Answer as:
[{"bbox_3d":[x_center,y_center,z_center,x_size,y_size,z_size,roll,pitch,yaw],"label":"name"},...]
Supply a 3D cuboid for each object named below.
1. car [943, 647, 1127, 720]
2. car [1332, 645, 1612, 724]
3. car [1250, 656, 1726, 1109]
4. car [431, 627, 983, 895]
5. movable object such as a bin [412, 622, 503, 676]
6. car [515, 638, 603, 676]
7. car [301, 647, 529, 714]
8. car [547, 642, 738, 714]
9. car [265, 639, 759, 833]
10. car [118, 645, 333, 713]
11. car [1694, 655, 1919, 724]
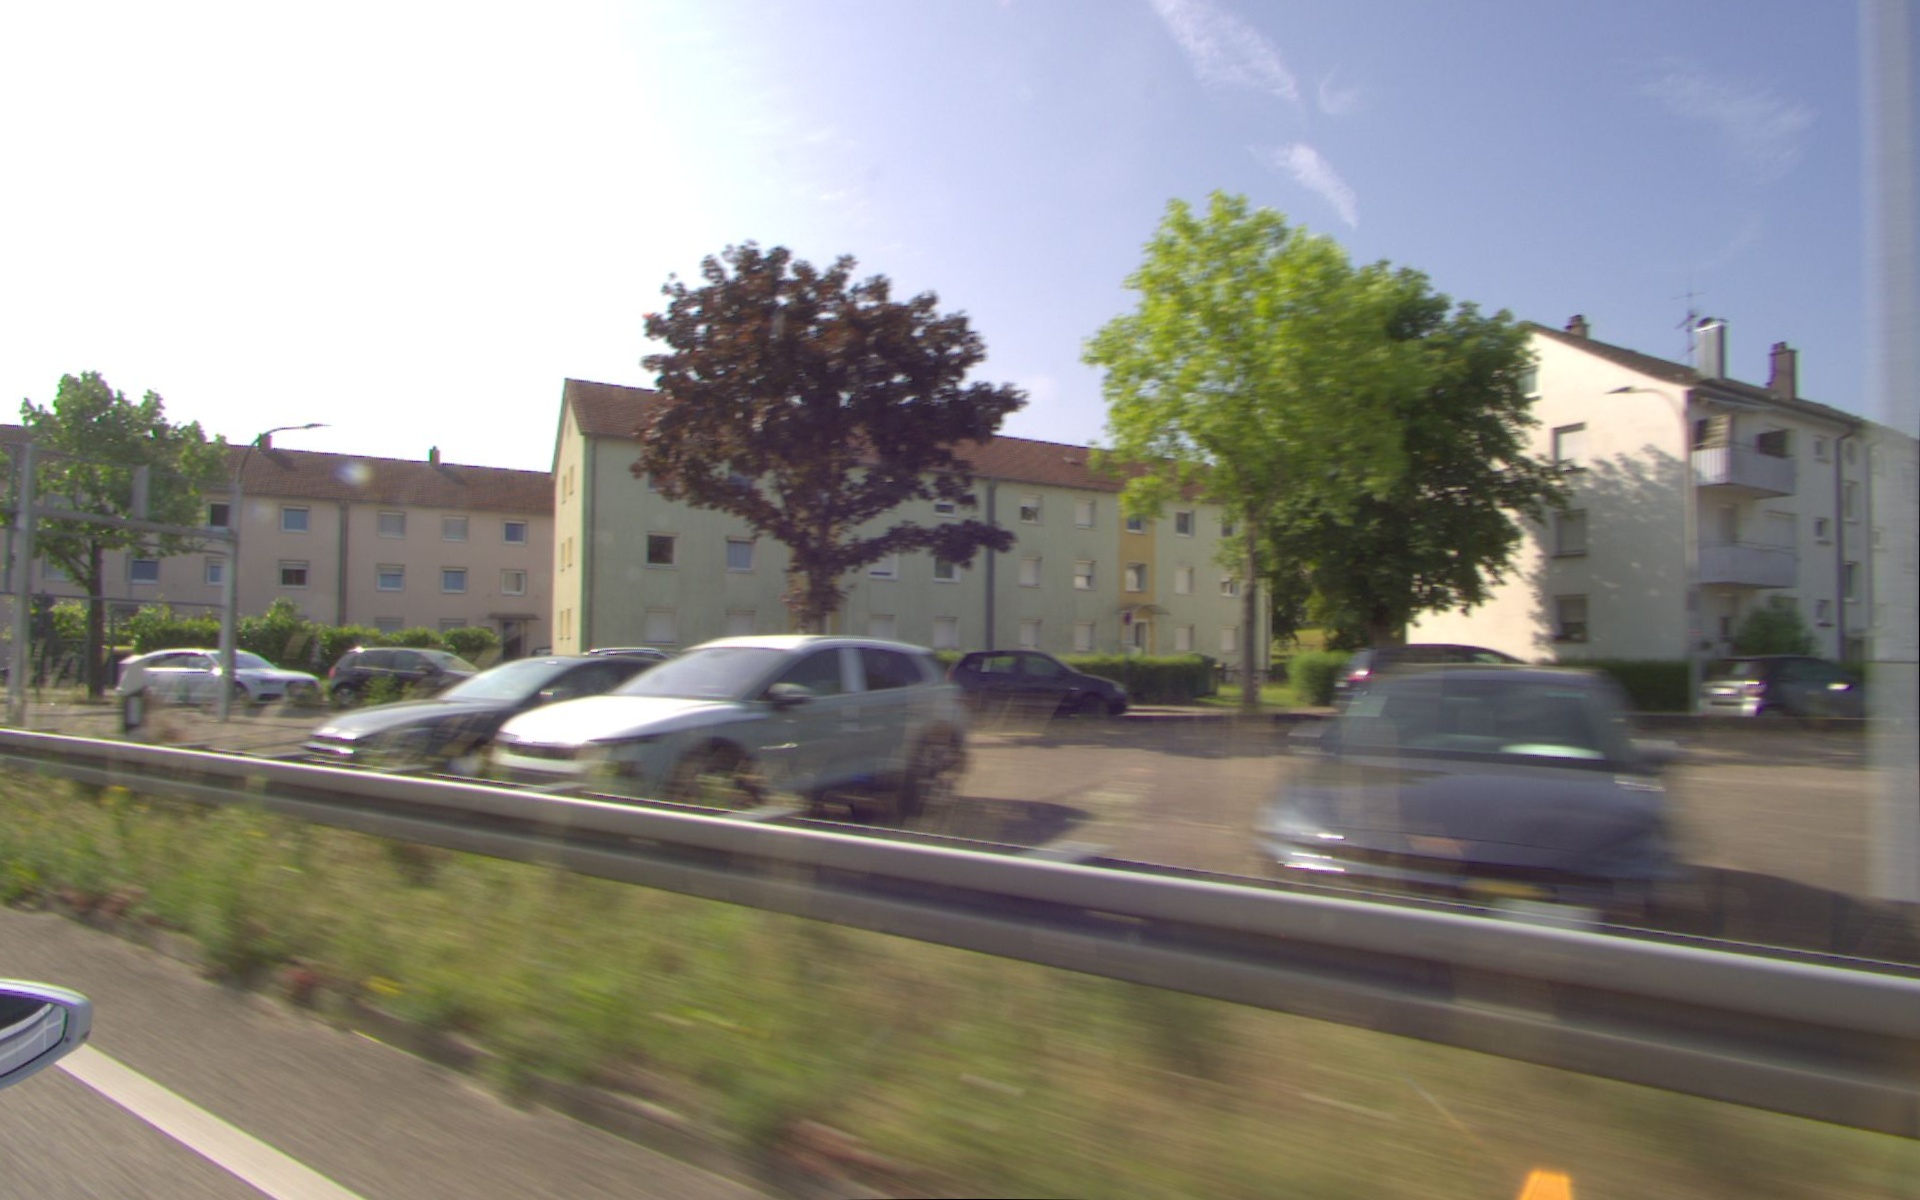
[{"bbox_3d":[1.576,1.658,20.398,3.593,1.384,1.656,-1,-2,10],"label":"car"},{"bbox_3d":[9.727,1.590,19.406,4.438,1.423,1.915,-1,-2,10],"label":"car"},{"bbox_3d":[3.049,1.087,5.685,1.605,1.462,4.314,-1,-2,32],"label":"car"},{"bbox_3d":[-1.848,1.093,8.613,2.111,1.660,4.309,-1,-3,34],"label":"car"},{"bbox_3d":[-23.120,2.274,46.178,3.472,2.385,1.584,1,-5,-18],"label":"movable object such as a bin"},{"bbox_3d":[-19.747,2.838,49.376,3.937,1.759,1.812,1,-5,-24],"label":"car"},{"bbox_3d":[-12.216,1.770,22.535,4.399,1.423,1.709,-1,-2,10],"label":"car"},{"bbox_3d":[-6.912,1.671,21.981,3.592,1.423,1.709,1,-2,10],"label":"car"},{"bbox_3d":[-4.202,1.209,10.034,1.858,1.501,4.140,-1,-4,36],"label":"car"},{"bbox_3d":[-17.435,1.829,23.813,4.357,1.438,1.788,0,-2,15],"label":"car"},{"bbox_3d":[16.055,1.627,18.573,3.593,1.201,1.594,-1,-2,10],"label":"car"}]
